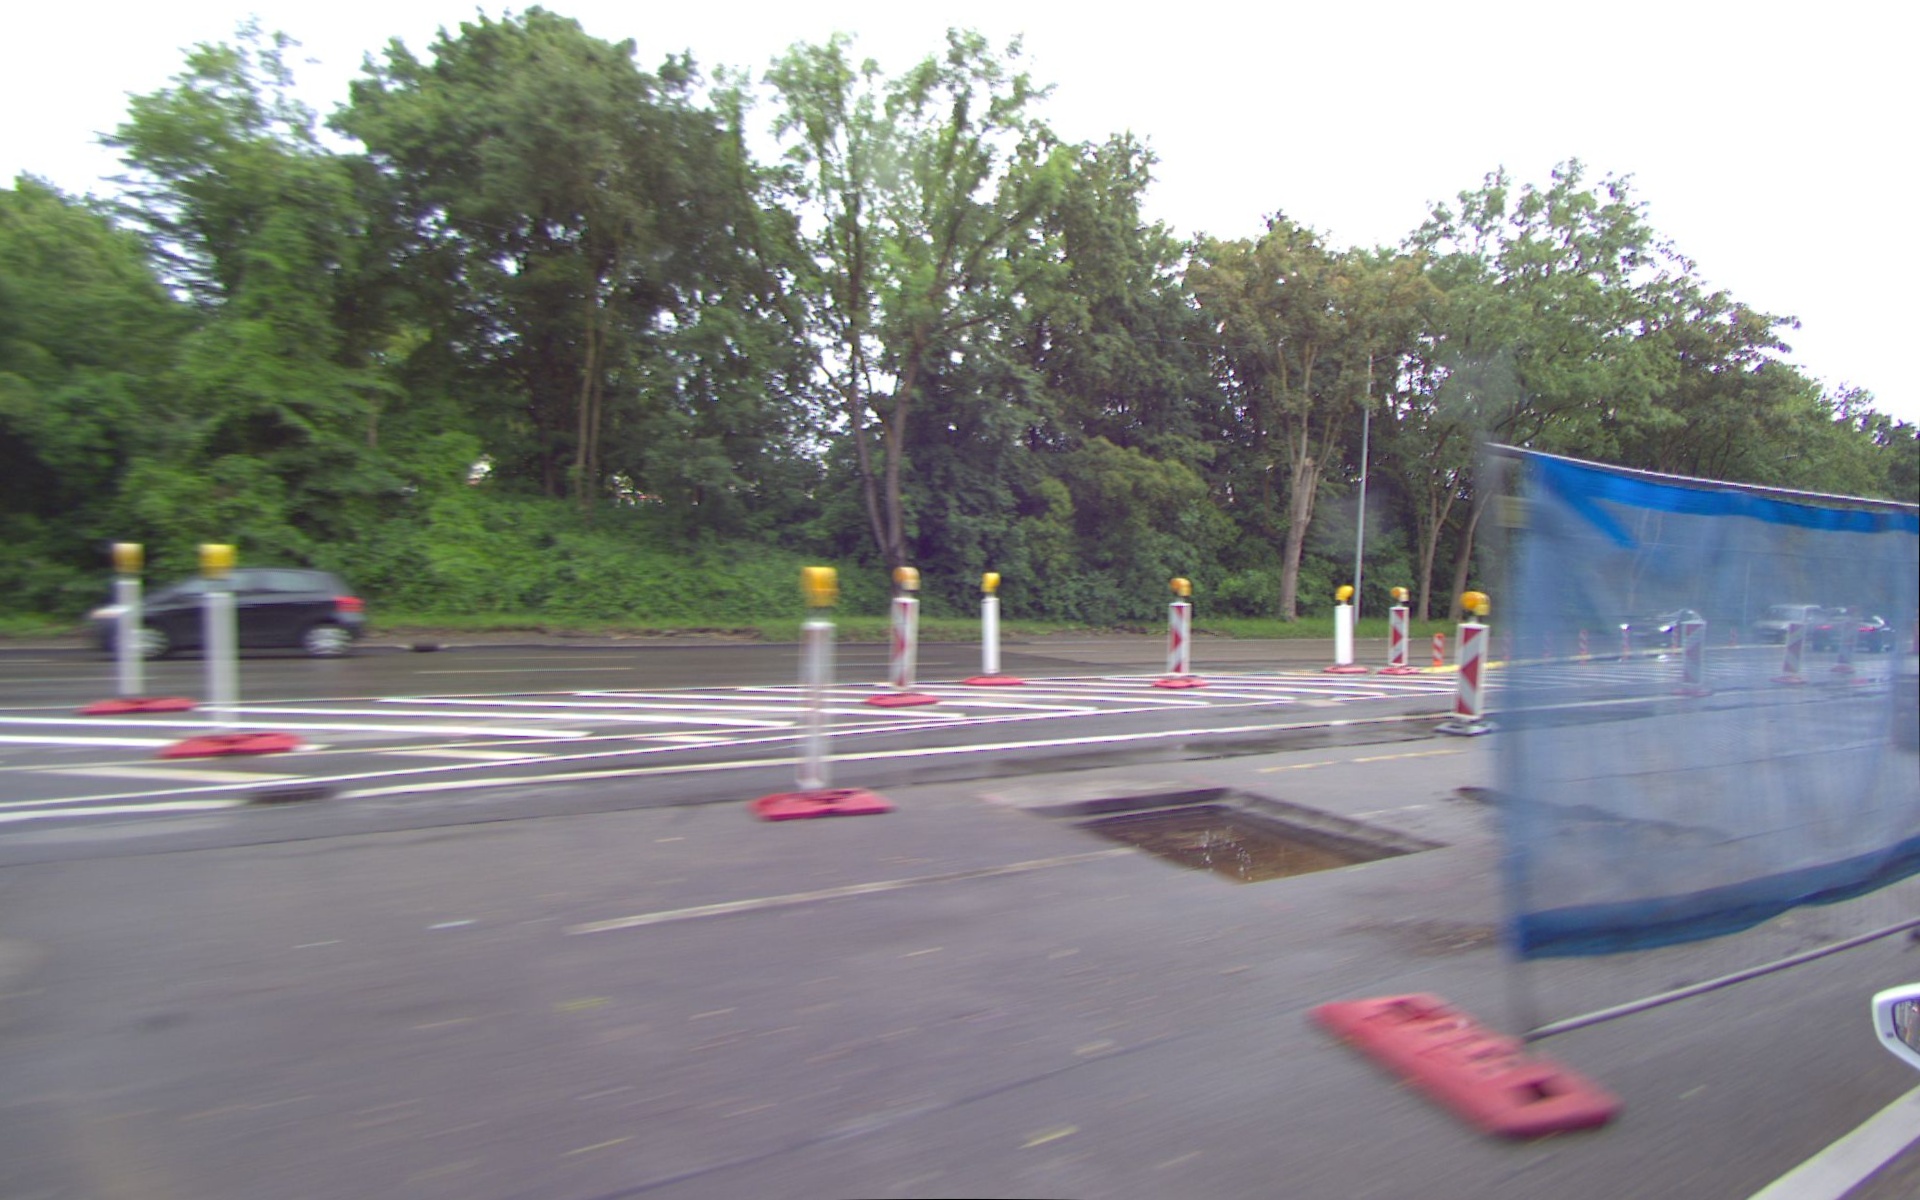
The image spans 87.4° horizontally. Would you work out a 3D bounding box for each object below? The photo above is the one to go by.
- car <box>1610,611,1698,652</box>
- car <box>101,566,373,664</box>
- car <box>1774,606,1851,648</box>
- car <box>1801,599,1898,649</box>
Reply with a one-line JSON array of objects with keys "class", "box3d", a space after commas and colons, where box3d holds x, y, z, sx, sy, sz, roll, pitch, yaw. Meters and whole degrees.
[{"class": "car", "box3d": [25.533, 1.143, 36.922, 3.786, 1.426, 1.418, 1, 0, -35]}, {"class": "car", "box3d": [-11.782, 0.257, 16.662, 3.498, 1.476, 1.518, 1, 0, -30]}, {"class": "car", "box3d": [36.427, 1.134, 42.905, 4.085, 1.718, 1.419, 1, 0, -33]}, {"class": "car", "box3d": [32.667, 0.827, 36.879, 3.962, 1.512, 1.848, -2, 4, -37]}]
